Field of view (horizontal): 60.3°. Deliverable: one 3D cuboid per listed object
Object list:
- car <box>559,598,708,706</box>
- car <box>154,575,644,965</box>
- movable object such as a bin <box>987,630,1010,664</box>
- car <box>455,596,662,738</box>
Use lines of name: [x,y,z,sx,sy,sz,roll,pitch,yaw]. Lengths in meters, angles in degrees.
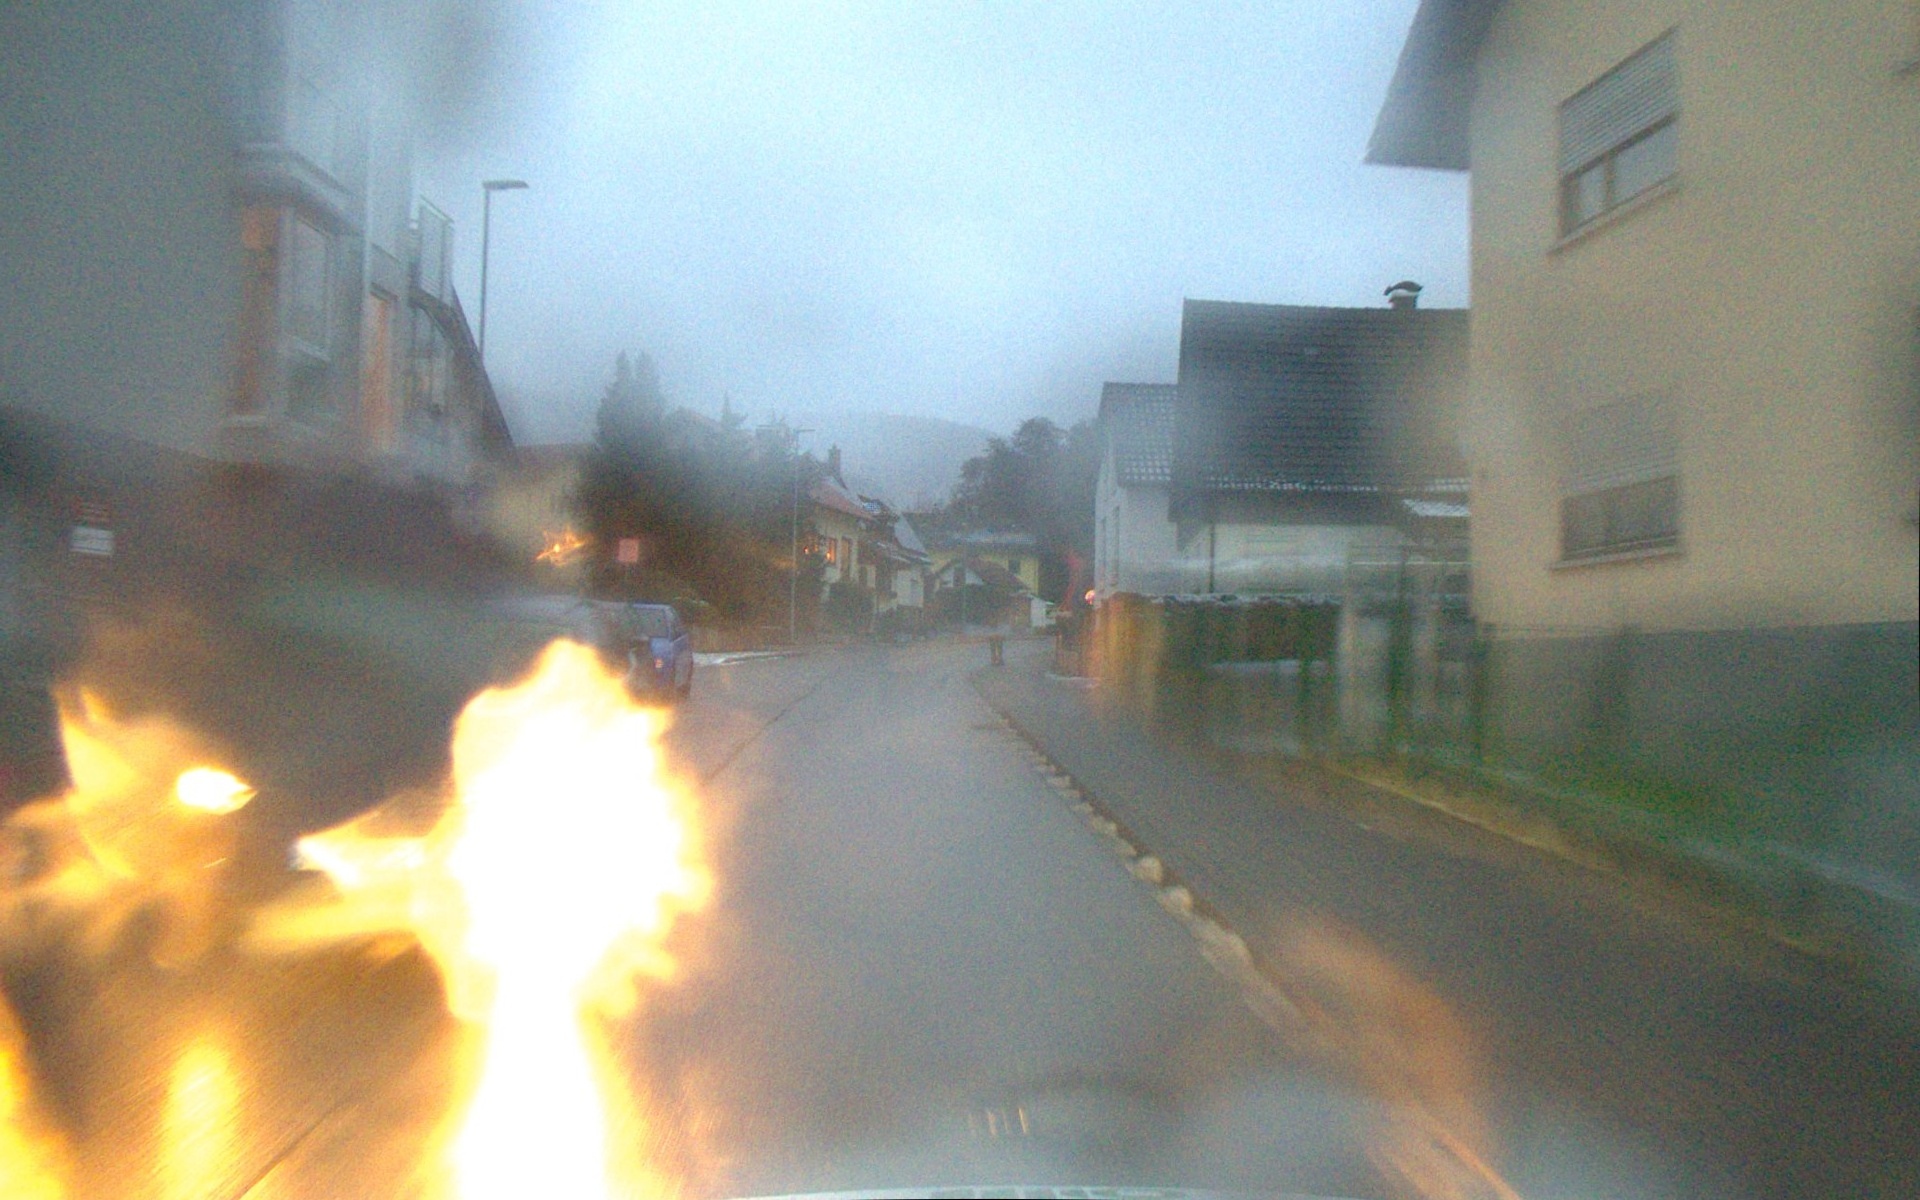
car: [-4.757,0.706,24.557,1.634,1.434,3.911,1,0,-4]
car: [-2.640,0.656,8.790,1.741,1.521,4.370,0,0,-9]
movable object such as a bin: [1.125,1.375,48.496,0.601,0.963,0.595,-3,-2,4]
car: [-4.594,0.718,19.416,1.631,1.442,3.689,2,0,-3]
